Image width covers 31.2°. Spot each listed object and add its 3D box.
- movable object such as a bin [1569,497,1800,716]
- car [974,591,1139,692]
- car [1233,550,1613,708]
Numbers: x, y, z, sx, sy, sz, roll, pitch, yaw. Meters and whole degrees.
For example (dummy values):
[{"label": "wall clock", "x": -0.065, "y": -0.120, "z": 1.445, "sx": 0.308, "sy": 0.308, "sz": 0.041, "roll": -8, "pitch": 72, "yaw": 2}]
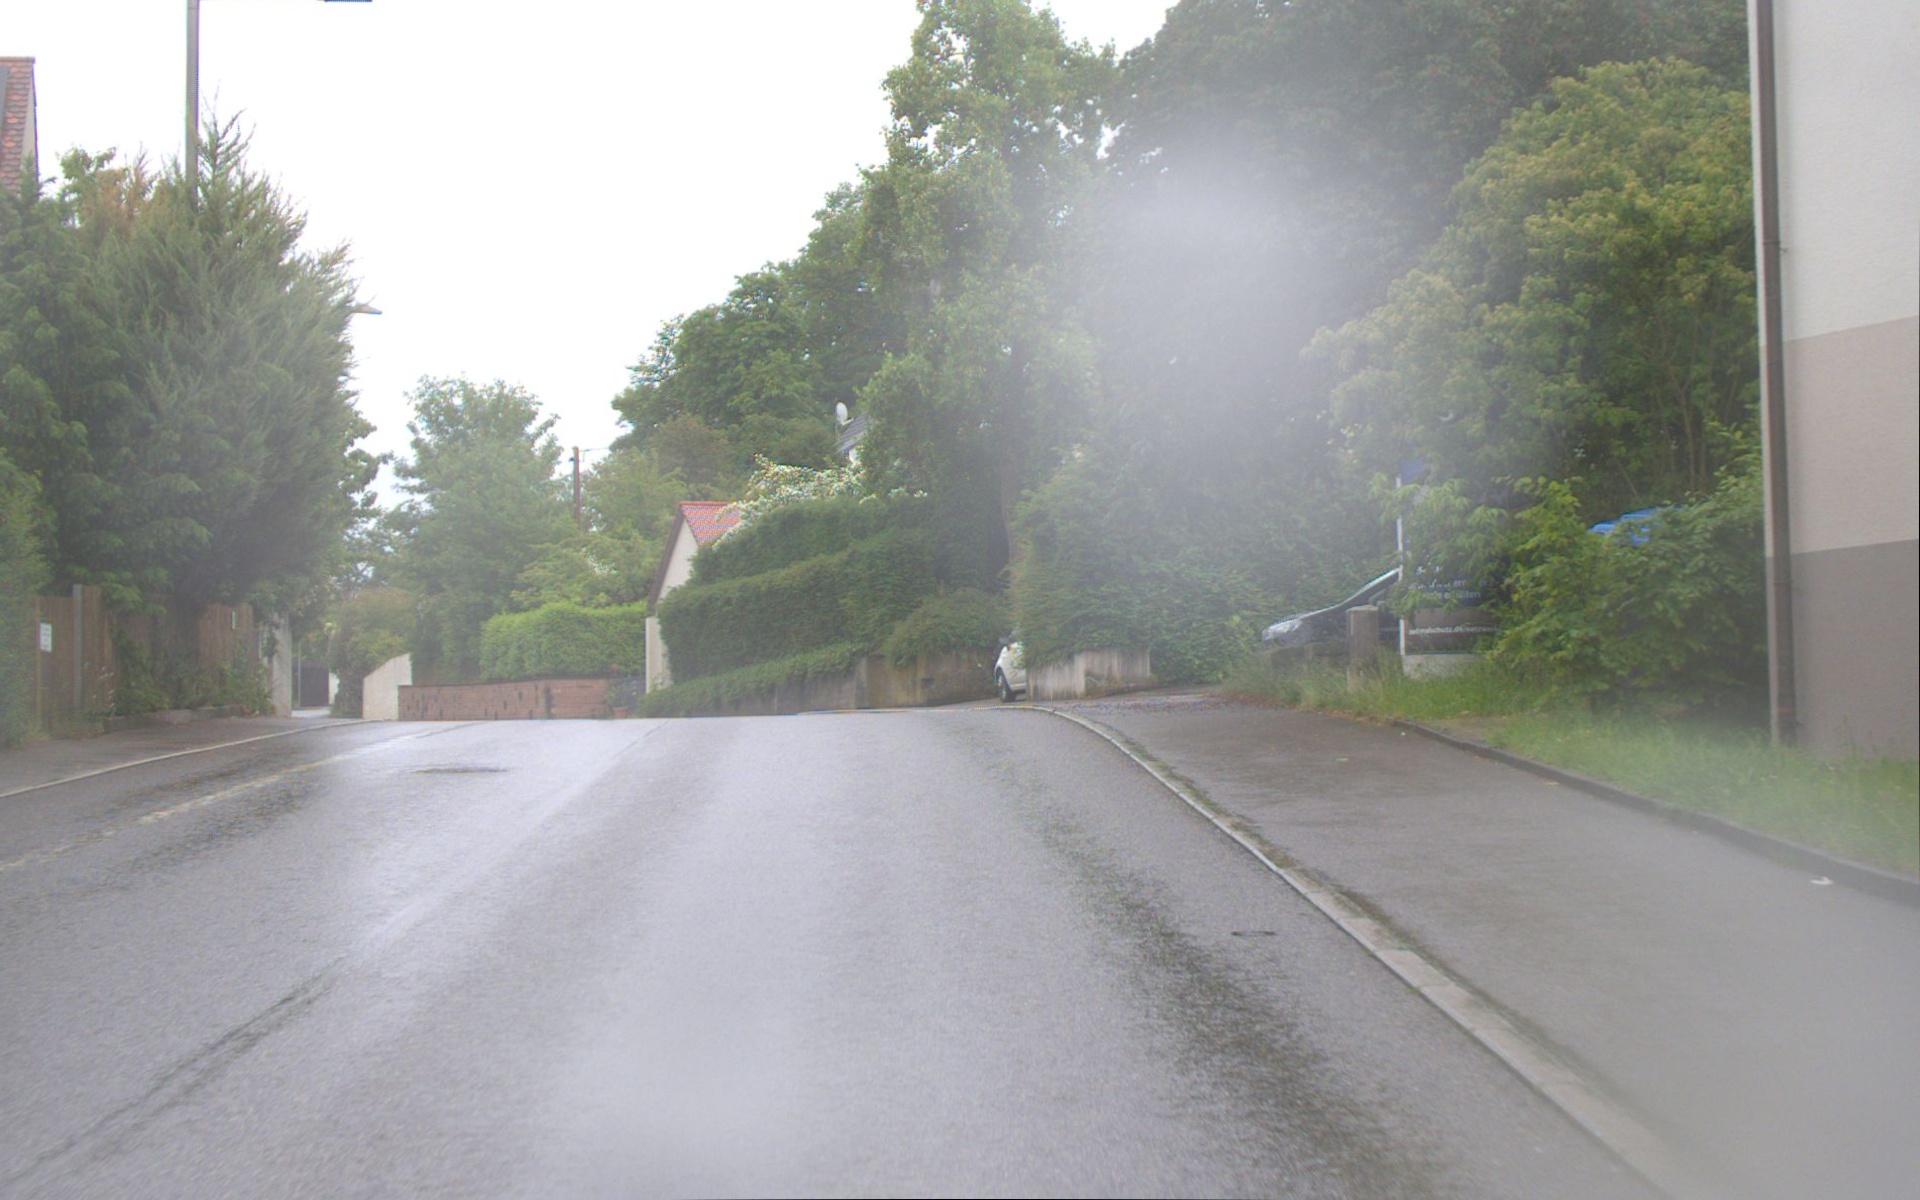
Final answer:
[{"label": "movable object such as a bin", "x": 5.124, "y": 0.041, "z": 24.315, "sx": 1.240, "sy": 1.492, "sz": 0.983, "roll": -1, "pitch": 0, "yaw": -35}, {"label": "car", "x": 1.595, "y": 0.727, "z": 58.132, "sx": 1.531, "sy": 1.530, "sz": 3.846, "roll": -5, "pitch": 0, "yaw": -17}, {"label": "car", "x": 5.507, "y": 0.350, "z": 40.712, "sx": 4.333, "sy": 1.710, "sz": 1.727, "roll": 1, "pitch": -2, "yaw": 11}]
